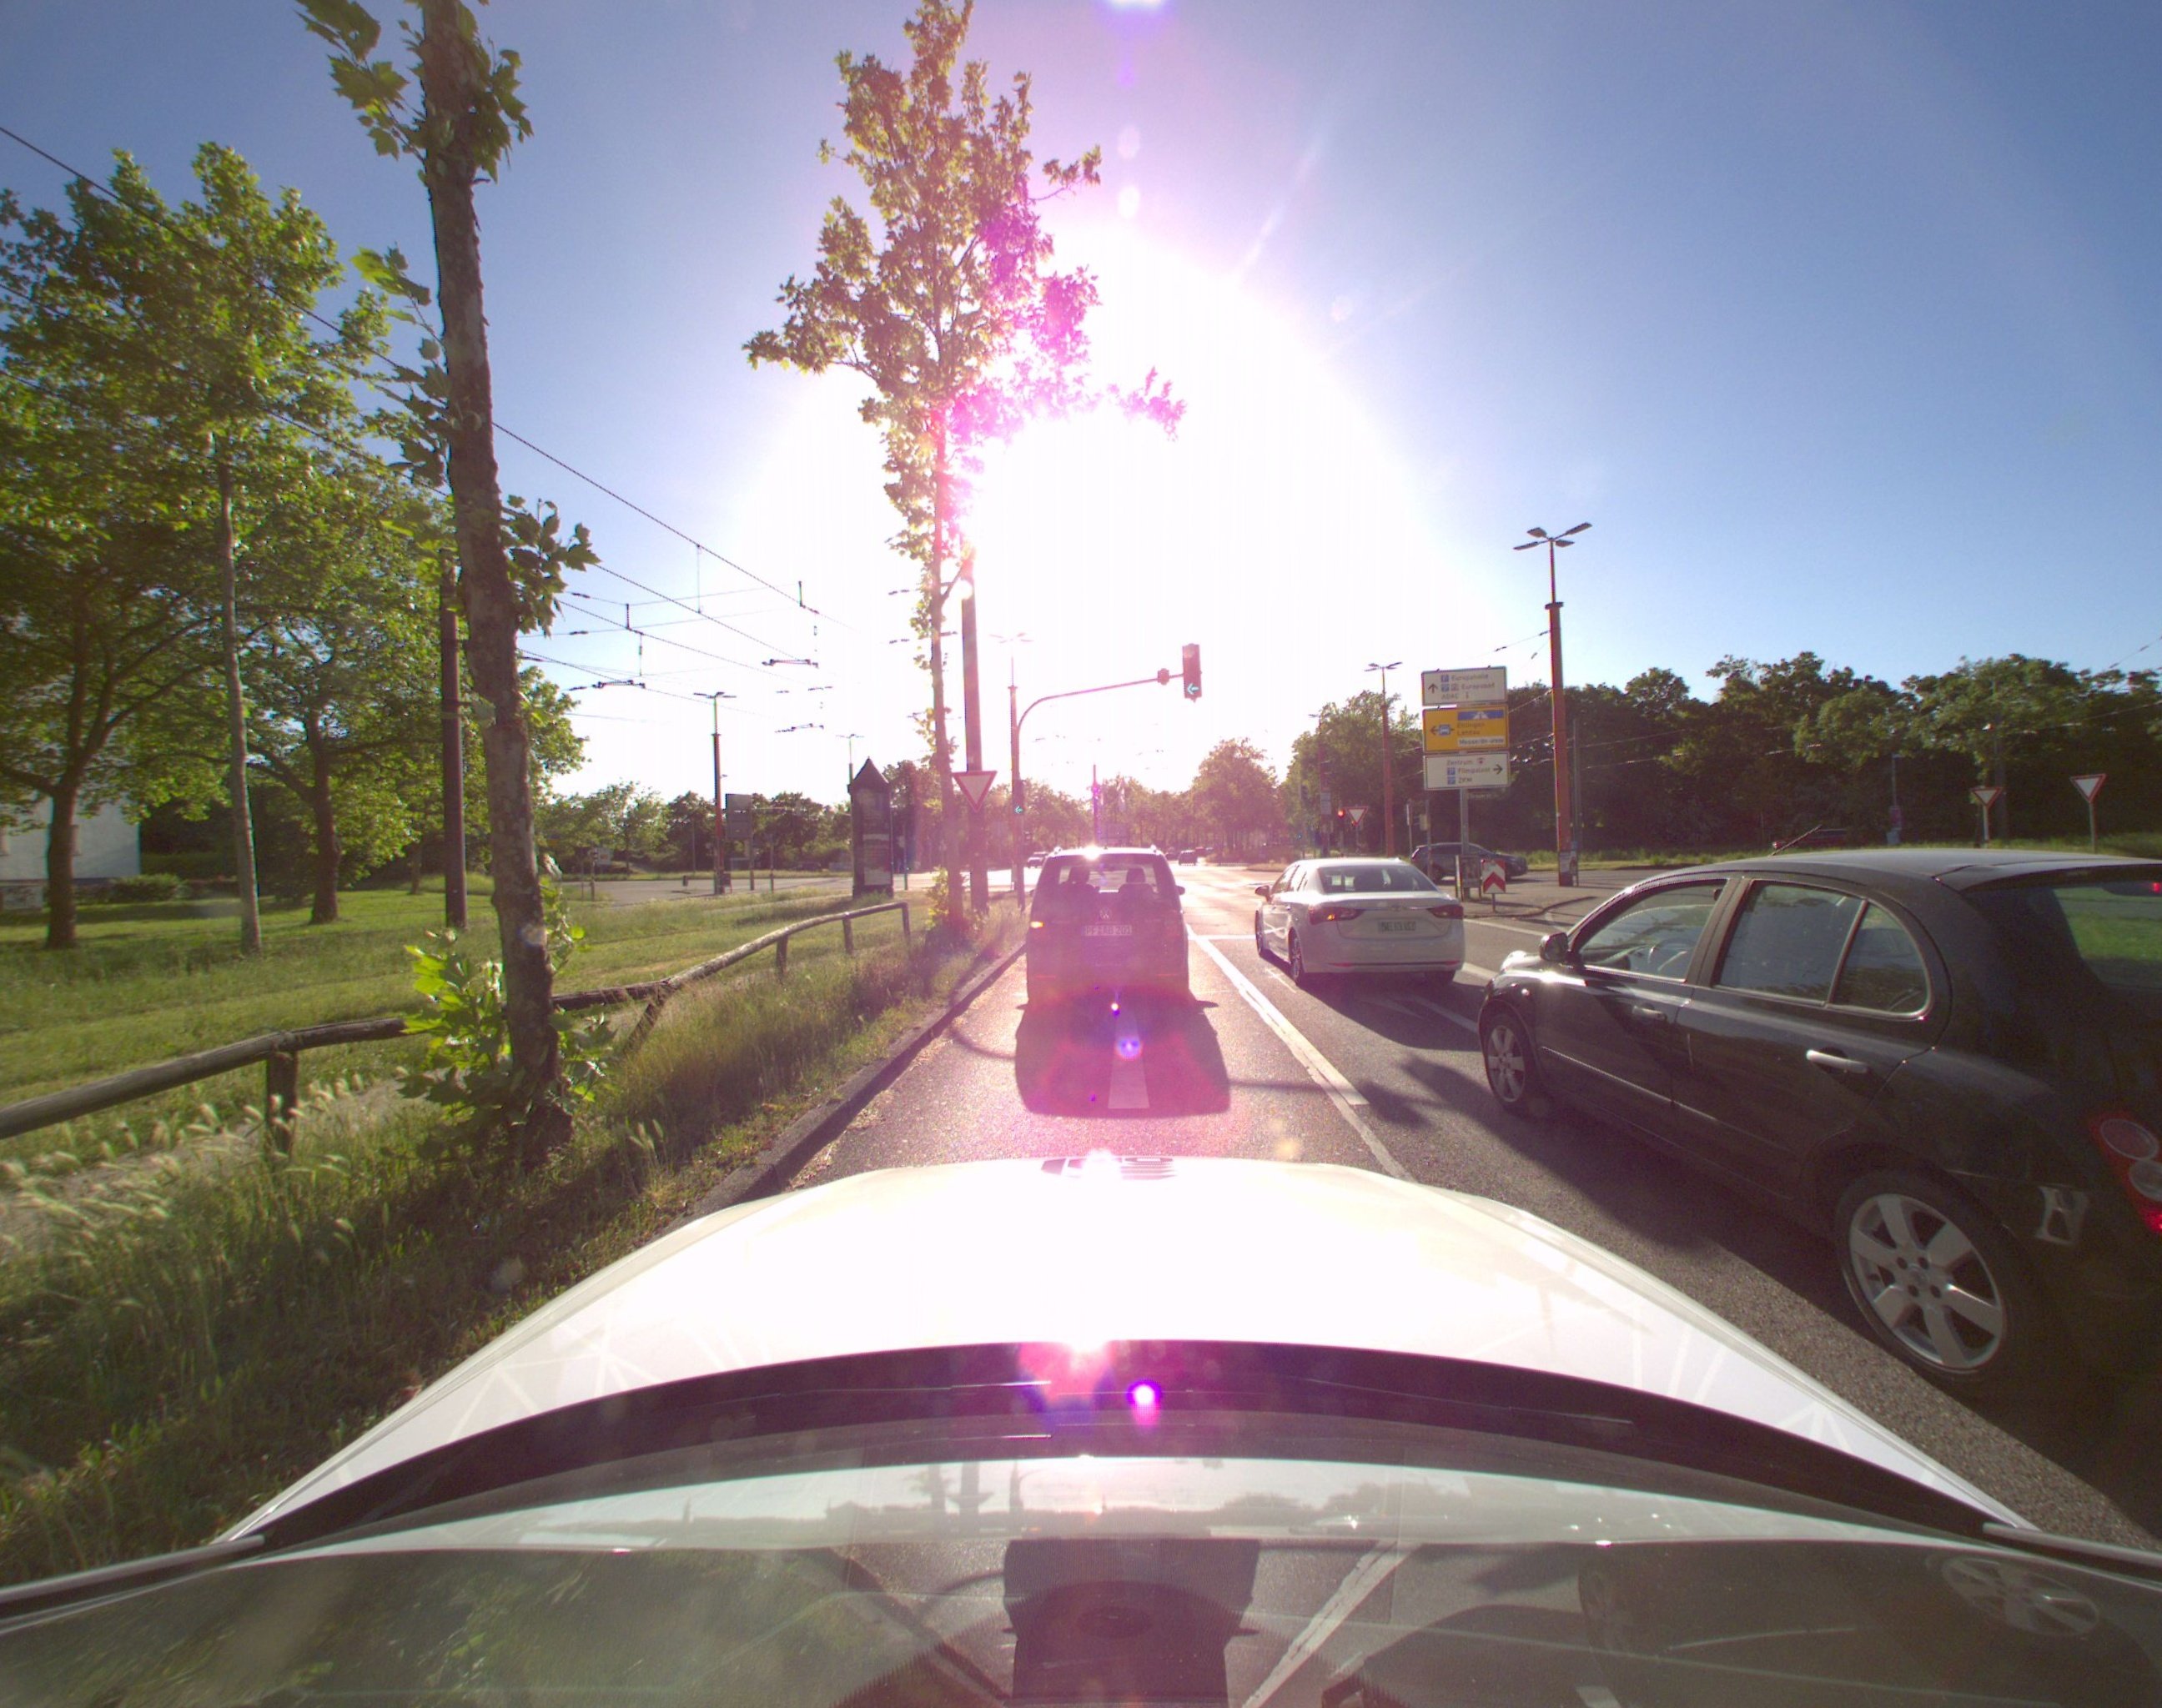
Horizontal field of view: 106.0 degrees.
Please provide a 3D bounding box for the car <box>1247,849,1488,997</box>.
[{"bbox_3d":[3.354,0.690,10.468,1.760,1.464,4.370,-2,0,3],"label":"car"}]

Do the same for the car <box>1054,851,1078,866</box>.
[{"bbox_3d":[-1.631,0.493,91.610,1.756,1.538,4.104,-2,0,11],"label":"car"}]

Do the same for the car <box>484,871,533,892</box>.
[{"bbox_3d":[-53.291,2.529,75.782,4.390,1.775,1.917,-2,2,29],"label":"car"}]

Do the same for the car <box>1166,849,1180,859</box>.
[{"bbox_3d":[13.397,-0.047,118.990,1.779,1.388,4.060,-1,1,9],"label":"car"}]

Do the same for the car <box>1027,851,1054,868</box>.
[{"bbox_3d":[-4.683,0.610,94.042,1.889,1.726,4.669,-2,0,12],"label":"car"}]

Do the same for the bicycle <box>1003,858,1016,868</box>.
[{"bbox_3d":[-8.282,1.070,94.643,0.757,1.091,2.025,-2,1,19],"label":"bicycle"}]

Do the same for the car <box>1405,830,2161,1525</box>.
[{"bbox_3d":[3.262,0.672,3.863,1.728,1.482,4.625,-2,0,2],"label":"car"}]

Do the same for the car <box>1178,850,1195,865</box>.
[{"bbox_3d":[10.979,0.350,84.769,1.780,1.388,4.058,-1,1,7],"label":"car"}]

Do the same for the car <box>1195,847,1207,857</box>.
[{"bbox_3d":[20.040,-0.337,135.665,1.779,1.502,4.061,-1,1,9],"label":"car"}]

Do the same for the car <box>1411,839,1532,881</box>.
[{"bbox_3d":[17.250,0.278,36.013,4.633,1.704,2.012,-2,0,30],"label":"car"}]

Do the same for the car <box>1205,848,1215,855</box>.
[{"bbox_3d":[24.735,-0.479,155.697,1.778,1.388,4.062,-1,1,11],"label":"car"}]

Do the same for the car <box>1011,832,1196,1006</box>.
[{"bbox_3d":[0.316,0.617,10.387,1.761,1.644,4.926,-2,0,2],"label":"car"}]

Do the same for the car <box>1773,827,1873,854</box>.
[{"bbox_3d":[46.157,-0.827,50.776,4.234,1.495,2.013,-2,0,29],"label":"car"}]

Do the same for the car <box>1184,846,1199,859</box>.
[{"bbox_3d":[14.112,-0.225,104.248,1.862,1.627,4.008,0,-1,7],"label":"car"}]

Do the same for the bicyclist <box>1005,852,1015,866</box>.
[{"bbox_3d":[-8.278,0.607,94.718,0.753,1.557,0.986,-2,1,19],"label":"bicyclist"}]

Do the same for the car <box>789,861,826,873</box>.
[{"bbox_3d":[-33.247,1.580,99.002,3.950,1.266,1.955,-2,0,26],"label":"car"}]
